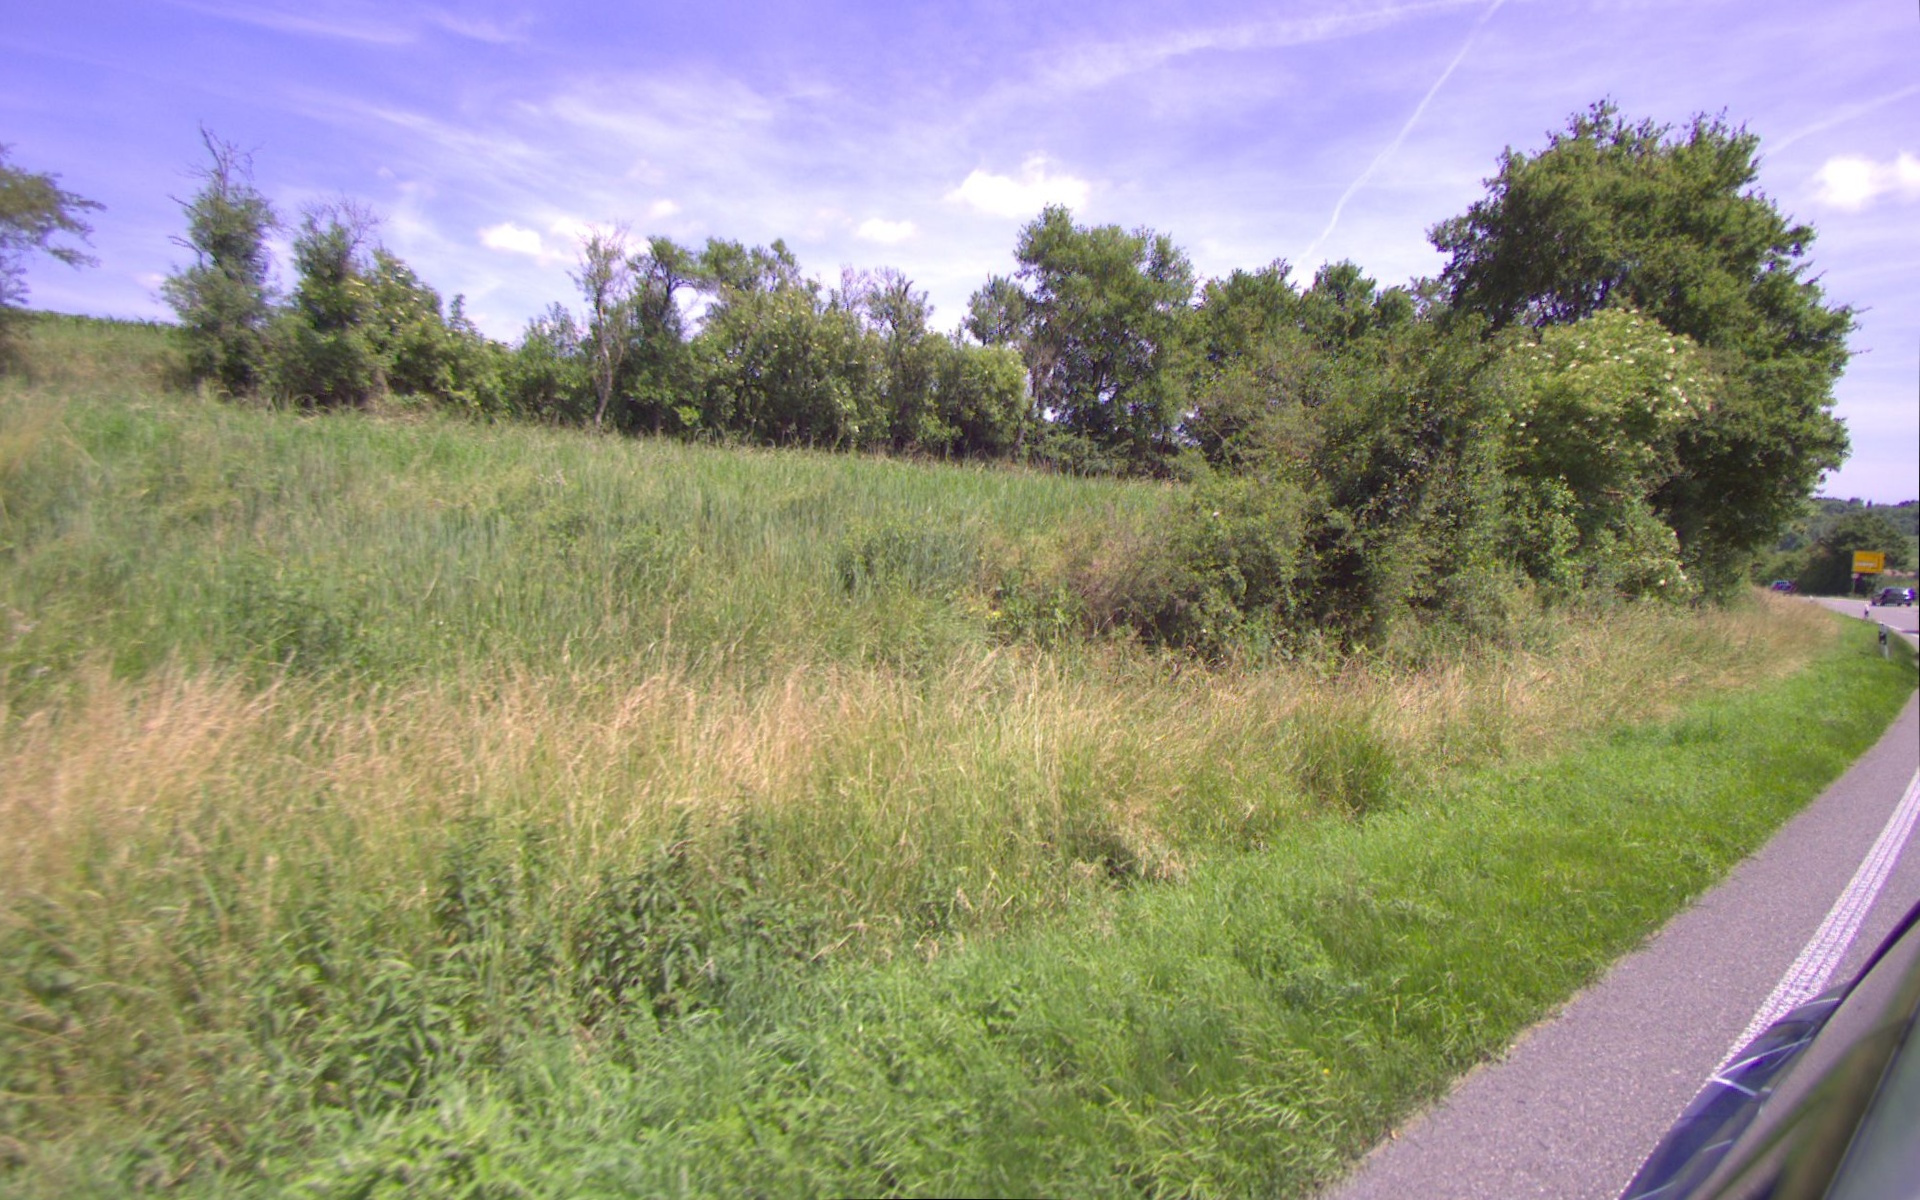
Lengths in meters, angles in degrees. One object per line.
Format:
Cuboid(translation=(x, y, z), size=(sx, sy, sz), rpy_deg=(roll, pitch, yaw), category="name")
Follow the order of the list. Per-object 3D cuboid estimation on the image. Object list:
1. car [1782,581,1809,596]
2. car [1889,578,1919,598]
Cuboid(translation=(88.300, -1.220, 106.984), size=(1.663, 1.550, 3.912), rpy_deg=(2, 1, 33), category="car")
Cuboid(translation=(71.249, -0.901, 75.939), size=(1.754, 1.450, 4.214), rpy_deg=(1, 2, 36), category="car")
